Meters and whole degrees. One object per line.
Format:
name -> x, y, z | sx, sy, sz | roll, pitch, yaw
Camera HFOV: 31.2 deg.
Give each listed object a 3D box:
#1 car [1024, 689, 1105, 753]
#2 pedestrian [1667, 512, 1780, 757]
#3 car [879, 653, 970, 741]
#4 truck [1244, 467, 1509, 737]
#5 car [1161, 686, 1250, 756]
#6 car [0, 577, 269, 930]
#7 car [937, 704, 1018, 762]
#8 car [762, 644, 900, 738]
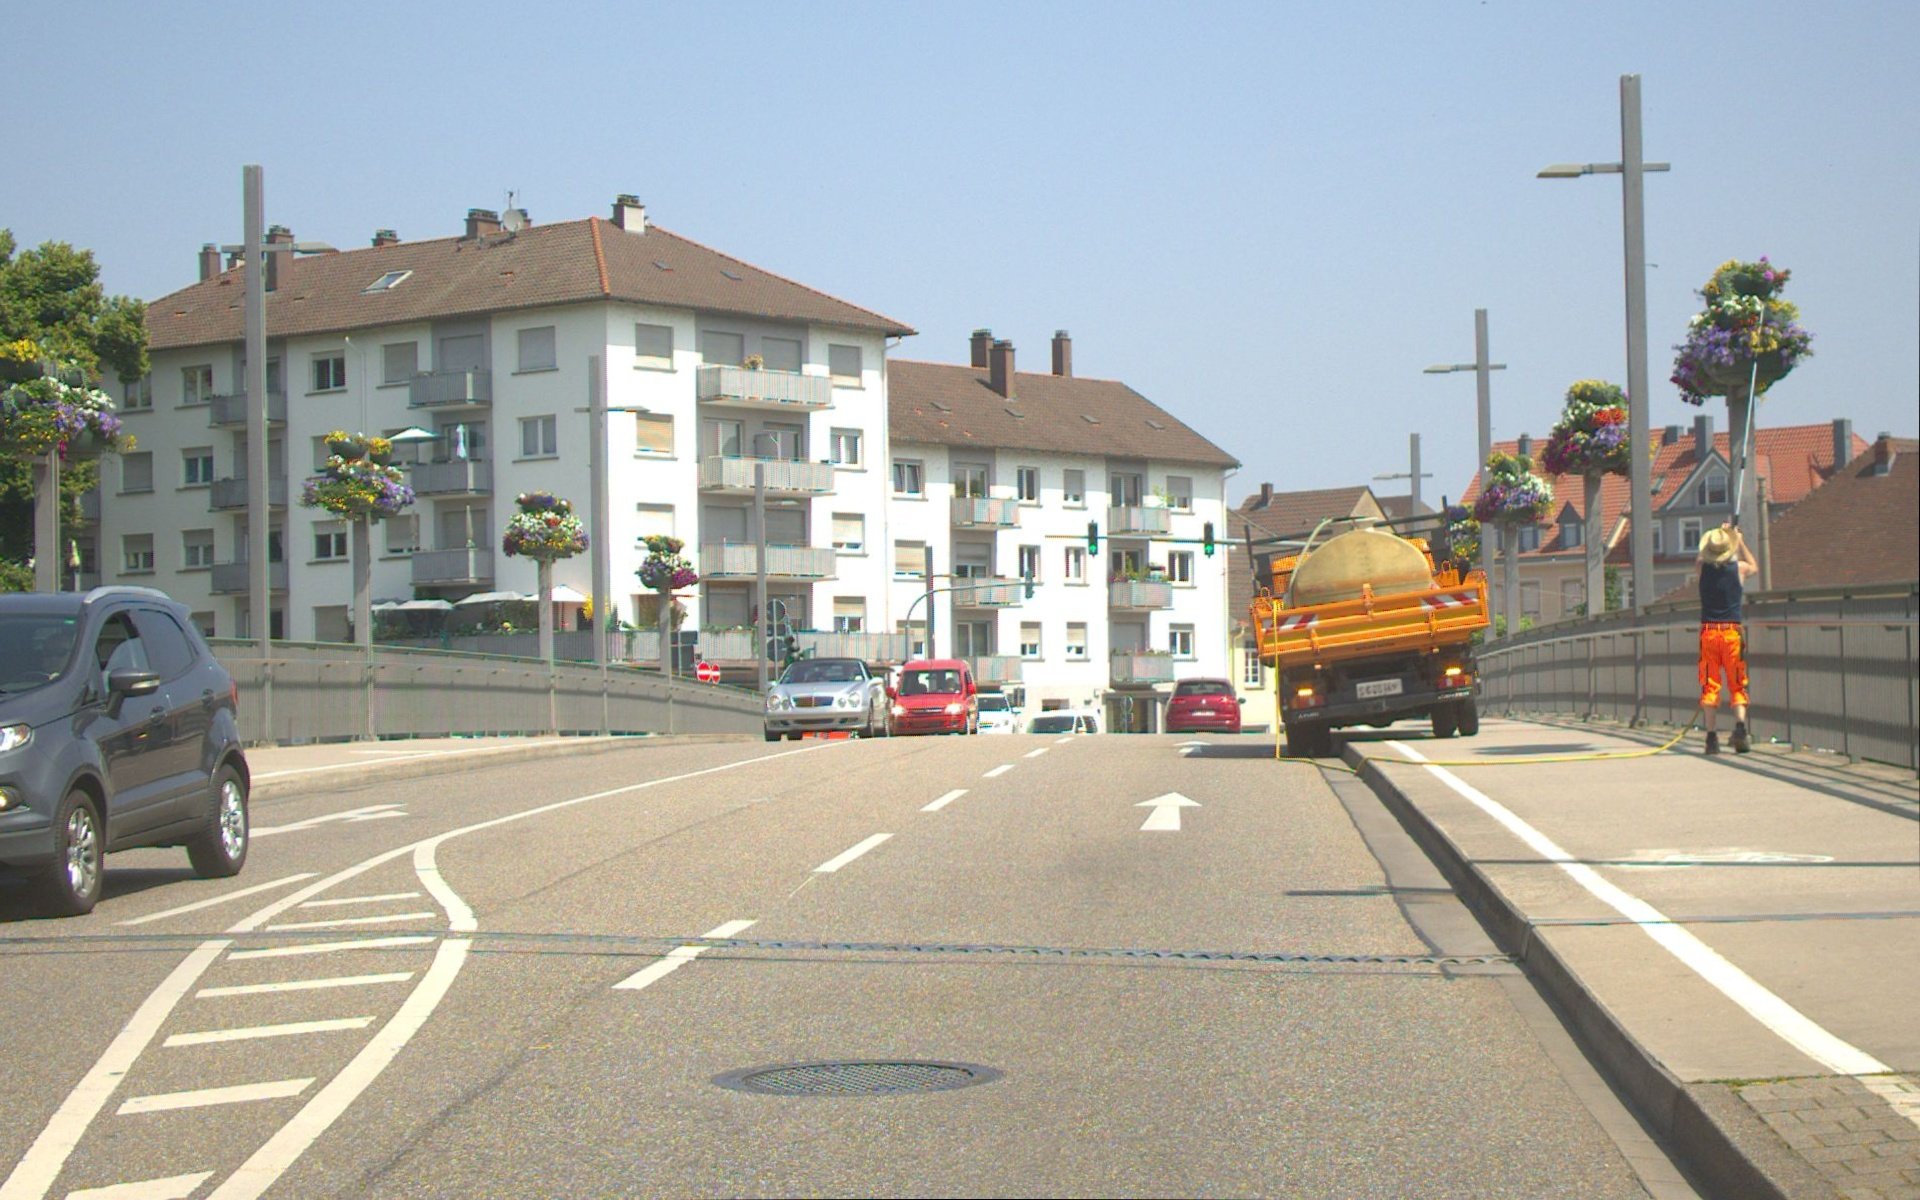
car -> 3.296, 3.736, 107.107 | 1.760, 1.851, 4.644 | 1, -1, 11
pedestrian -> 6.169, 0.286, 27.797 | 0.671, 1.953, 0.548 | 1, -3, -37
car -> -0.718, 2.041, 71.768 | 1.736, 1.771, 4.176 | -1, -2, 1
truck -> 4.452, 0.075, 37.609 | 2.606, 2.682, 5.821 | -1, -1, 5
car -> 5.907, 2.907, 83.143 | 1.990, 1.607, 4.341 | -1, -1, 3
car -> -5.029, 0.746, 18.011 | 1.737, 1.635, 3.920 | -2, 0, 4
car -> 0.478, 3.385, 87.520 | 1.844, 1.427, 4.712 | 0, -2, 3
car -> -2.069, 1.465, 56.452 | 1.698, 1.354, 4.455 | -3, 0, 4
